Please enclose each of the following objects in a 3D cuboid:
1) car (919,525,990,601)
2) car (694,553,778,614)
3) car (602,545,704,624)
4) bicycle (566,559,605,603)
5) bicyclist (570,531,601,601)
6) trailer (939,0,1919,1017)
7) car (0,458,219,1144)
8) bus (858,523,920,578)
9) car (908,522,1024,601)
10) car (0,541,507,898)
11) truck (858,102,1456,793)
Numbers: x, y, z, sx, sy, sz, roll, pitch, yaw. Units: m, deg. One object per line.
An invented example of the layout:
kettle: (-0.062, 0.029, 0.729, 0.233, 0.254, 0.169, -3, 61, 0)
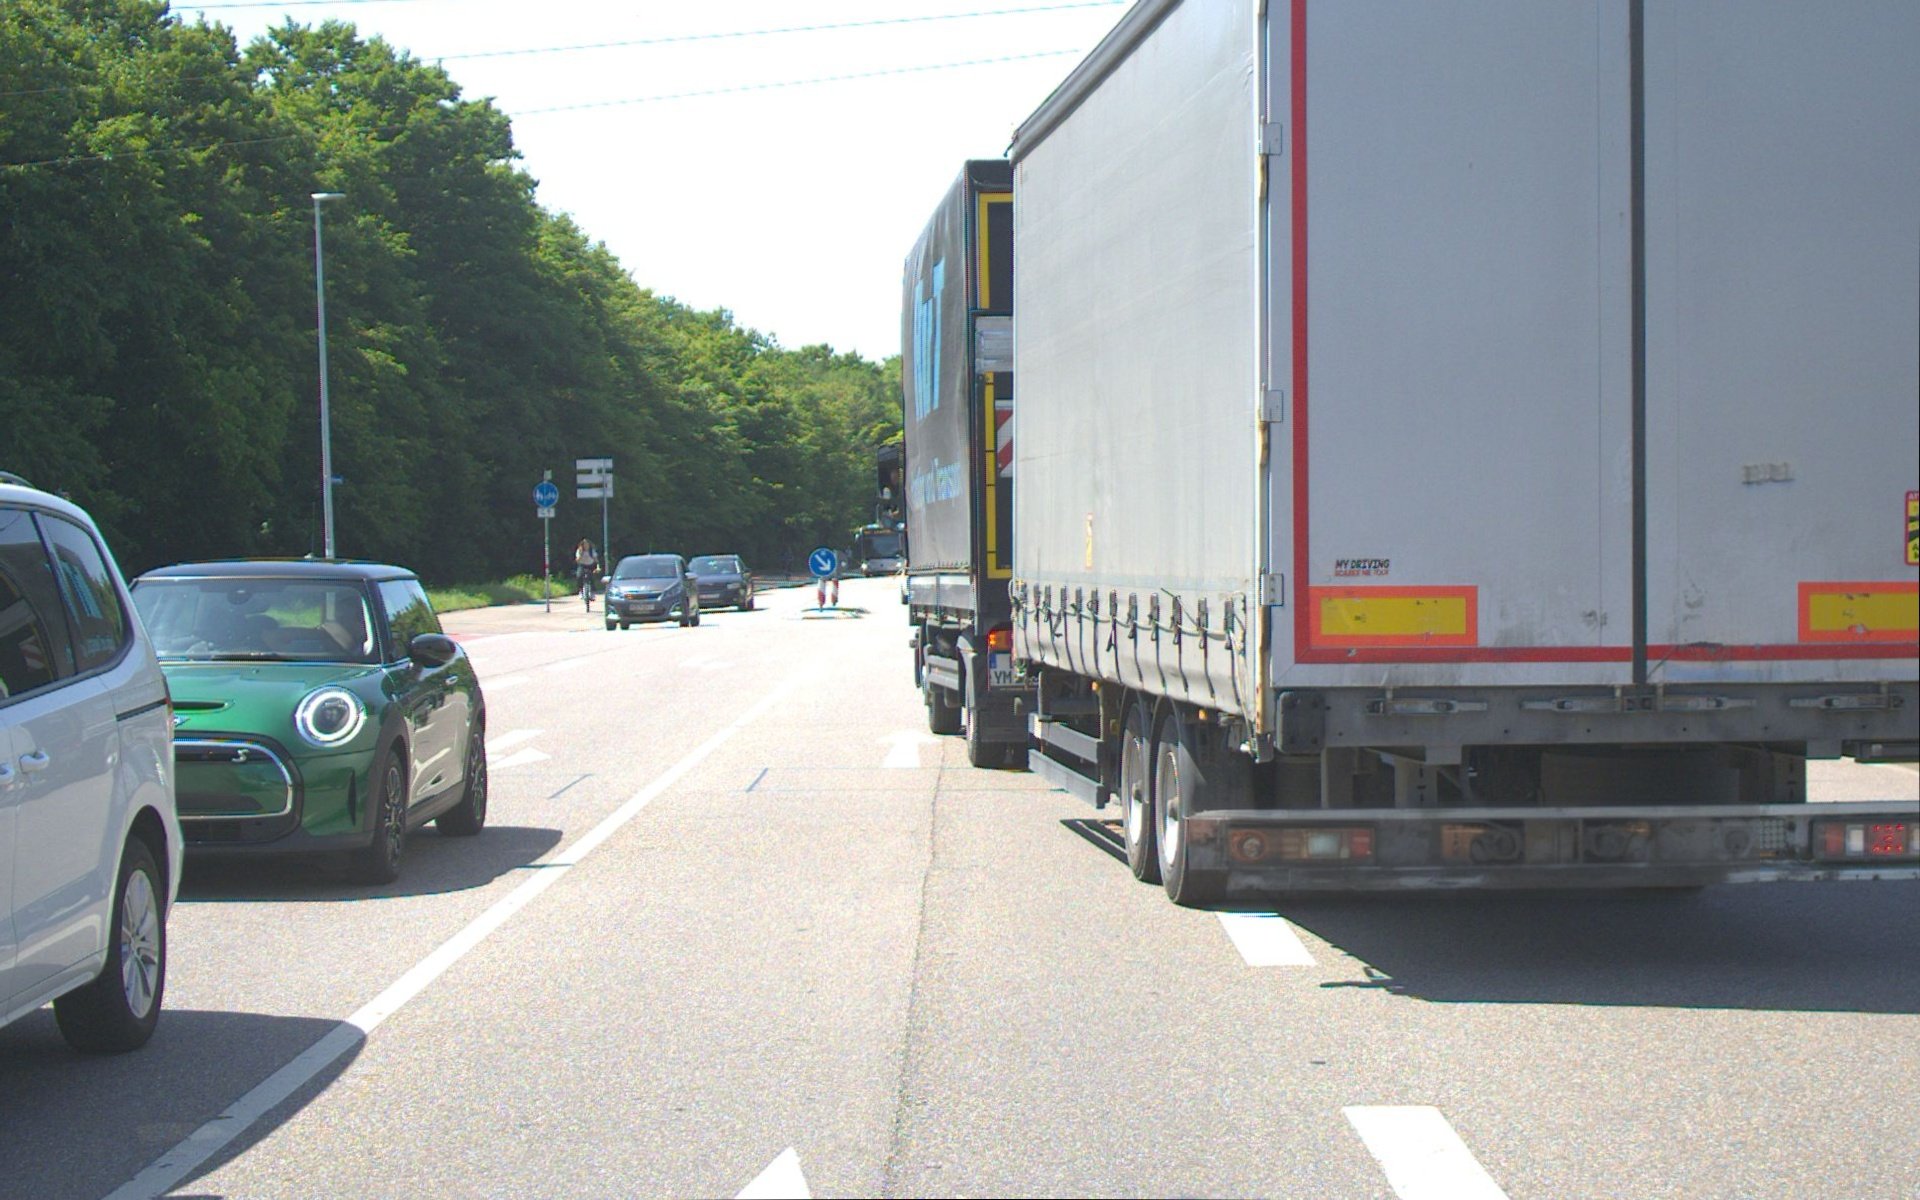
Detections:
car: (-0.122, -0.972, 89.150, 1.655, 1.900, 4.000, -1, 1, 2)
car: (-5.703, -0.444, 87.941, 1.744, 1.400, 4.441, -1, 2, 1)
car: (-6.043, -0.325, 67.951, 1.622, 1.451, 3.501, -2, 1, 0)
bicycle: (-9.242, -0.483, 84.950, 0.669, 1.051, 2.045, 0, 2, 2)
bicyclist: (-9.241, -0.846, 84.854, 0.665, 1.700, 0.769, 0, 1, 2)
trailer: (1.857, -0.815, 15.846, 3.076, 4.056, 9.811, 0, 1, -5)
car: (-3.315, 0.508, 8.658, 1.811, 1.717, 4.831, 0, 1, 0)
bus: (-4.282, -3.046, 209.266, 2.750, 3.034, 11.938, -4, 1, 3)
car: (0.160, -0.841, 74.136, 2.026, 1.626, 3.999, -1, 1, 7)
car: (-3.295, 0.465, 16.351, 1.723, 1.457, 3.990, 0, 1, 0)
truck: (1.063, -0.980, 24.286, 3.076, 4.056, 7.960, 0, 1, -5)
